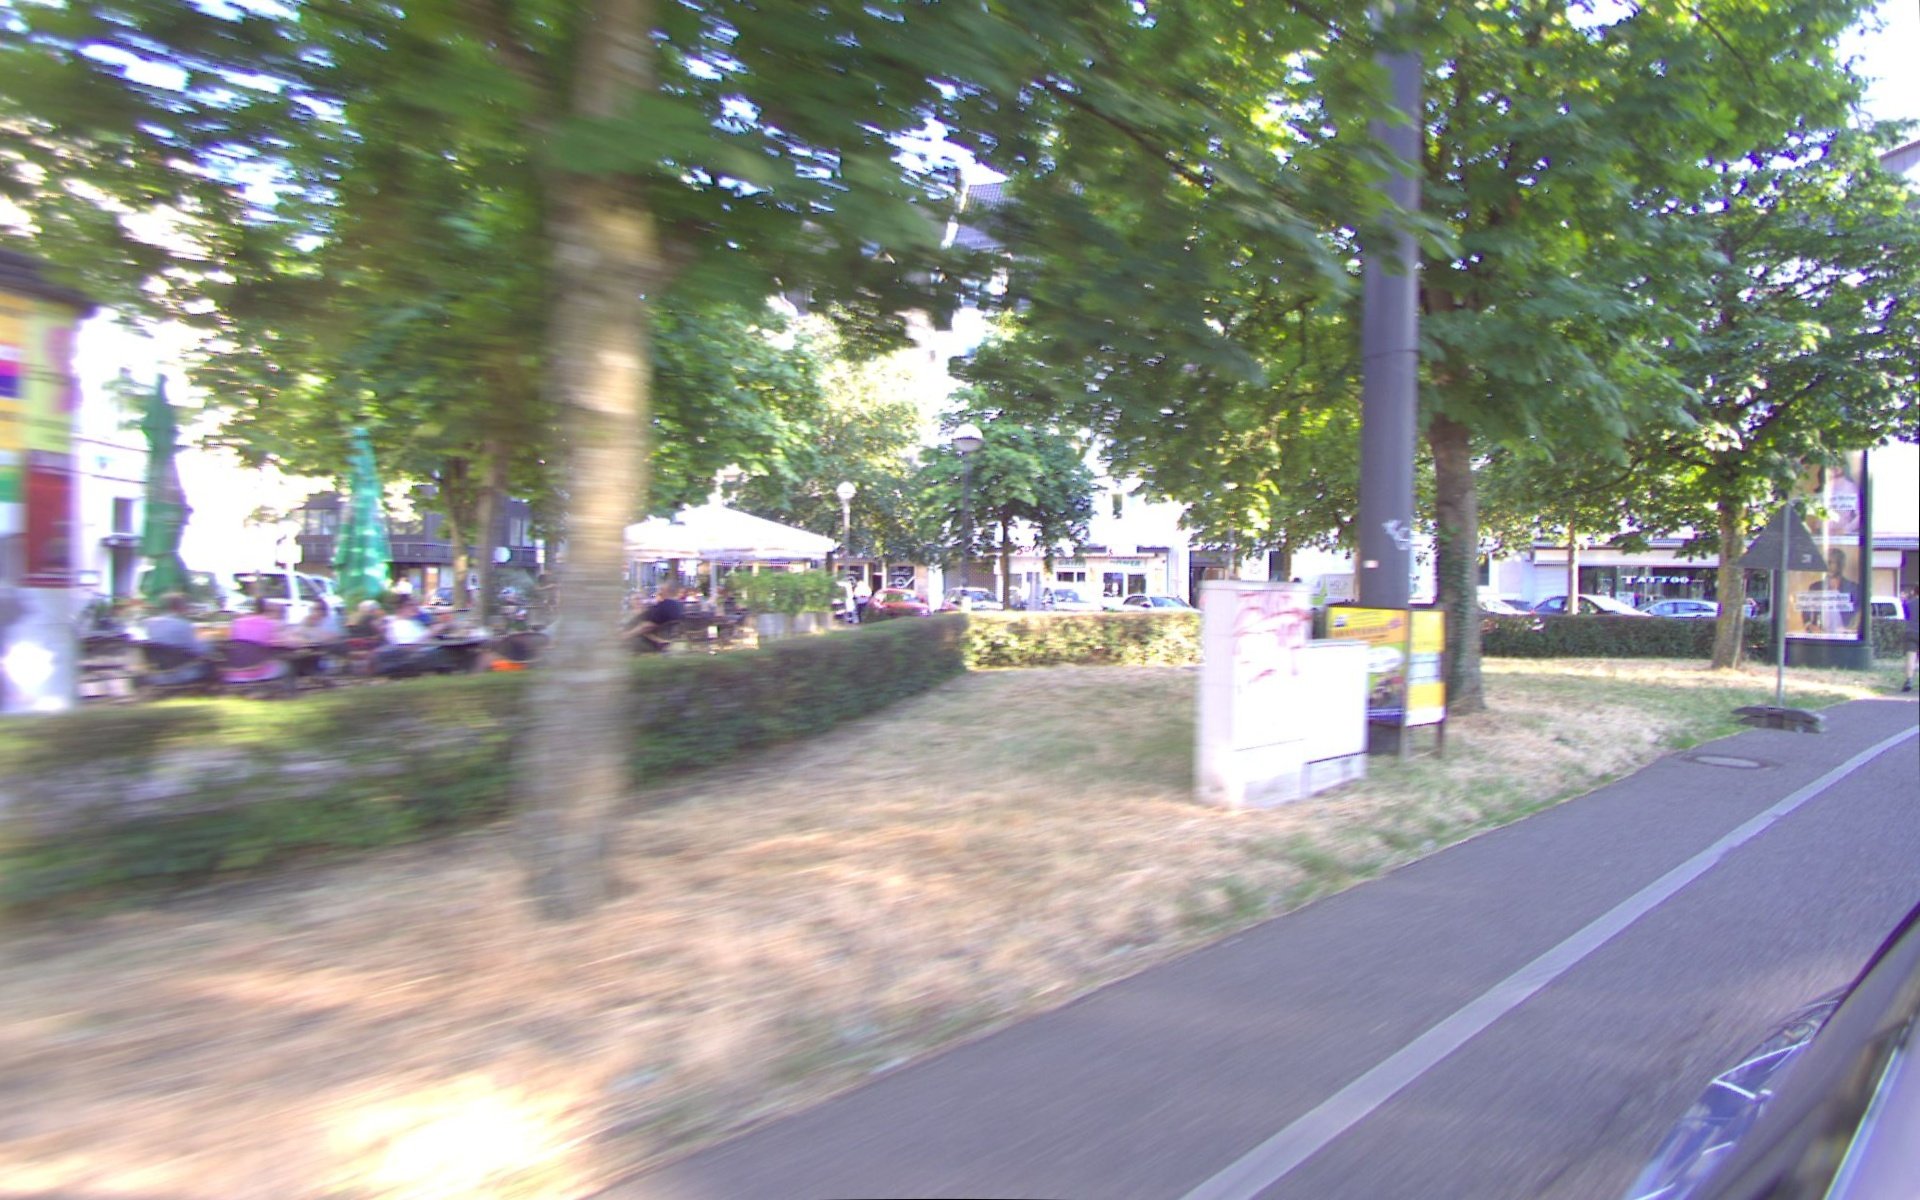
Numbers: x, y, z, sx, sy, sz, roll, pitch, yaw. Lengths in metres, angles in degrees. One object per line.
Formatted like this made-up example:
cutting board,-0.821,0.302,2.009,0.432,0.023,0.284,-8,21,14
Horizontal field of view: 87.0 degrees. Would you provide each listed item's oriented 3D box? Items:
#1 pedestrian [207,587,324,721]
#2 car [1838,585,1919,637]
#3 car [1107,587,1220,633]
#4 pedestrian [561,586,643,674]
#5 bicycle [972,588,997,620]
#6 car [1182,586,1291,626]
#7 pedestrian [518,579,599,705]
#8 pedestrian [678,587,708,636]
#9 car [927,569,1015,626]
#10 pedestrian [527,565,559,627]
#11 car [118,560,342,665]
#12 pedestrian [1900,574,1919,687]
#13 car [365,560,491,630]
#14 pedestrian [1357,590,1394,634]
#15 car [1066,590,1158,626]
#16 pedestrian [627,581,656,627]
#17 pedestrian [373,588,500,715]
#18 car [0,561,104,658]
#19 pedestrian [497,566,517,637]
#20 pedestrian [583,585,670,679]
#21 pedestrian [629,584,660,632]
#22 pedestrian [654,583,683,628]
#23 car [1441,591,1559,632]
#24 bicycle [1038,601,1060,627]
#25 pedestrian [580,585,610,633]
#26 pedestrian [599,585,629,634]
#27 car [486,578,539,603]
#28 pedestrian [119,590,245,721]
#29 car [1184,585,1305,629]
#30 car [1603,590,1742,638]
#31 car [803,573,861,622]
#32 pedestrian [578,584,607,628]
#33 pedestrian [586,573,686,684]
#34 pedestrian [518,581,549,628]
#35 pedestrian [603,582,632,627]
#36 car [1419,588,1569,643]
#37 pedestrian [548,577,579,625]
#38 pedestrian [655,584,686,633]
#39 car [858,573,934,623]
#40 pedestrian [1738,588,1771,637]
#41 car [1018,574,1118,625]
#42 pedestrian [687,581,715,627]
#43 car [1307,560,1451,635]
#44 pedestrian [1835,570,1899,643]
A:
pedestrian,-7.065,0.548,10.342,0.649,1.301,0.953,0,-4,-14
car,35.099,0.379,36.901,4.173,1.806,1.922,0,2,18
car,6.977,0.334,35.155,1.958,1.505,4.007,0,0,-23
pedestrian,-5.274,0.429,14.947,0.935,1.259,0.662,-1,-1,7
bicycle,0.796,0.133,33.106,0.321,1.008,1.463,1,1,22
car,11.101,0.222,40.599,4.108,1.505,1.925,0,0,19
pedestrian,-4.137,0.412,10.457,0.602,1.260,0.568,0,1,4
pedestrian,-6.217,0.263,23.573,0.486,1.131,0.555,0,0,14
car,0.350,-0.098,38.105,1.958,2.039,4.008,0,0,-21
pedestrian,-10.911,-0.107,26.479,0.521,1.599,0.637,0,0,14
car,-15.587,0.219,21.954,1.960,2.039,4.441,0,1,-5
pedestrian,15.239,0.478,15.775,0.630,1.765,0.590,1,0,-16
car,-16.601,-0.163,31.858,1.960,2.039,4.441,0,1,-5
pedestrian,12.087,0.351,29.467,0.949,1.241,1.362,0,0,21
car,7.005,0.323,46.552,3.949,1.514,1.941,0,3,19
pedestrian,-8.056,0.096,25.638,0.486,1.131,0.555,0,0,14
pedestrian,-5.414,0.510,10.520,0.968,1.258,0.781,0,0,-9
car,-20.718,0.190,21.286,1.982,1.988,4.518,0,0,-7
pedestrian,-10.906,0.030,24.358,0.382,1.706,0.329,0,1,-40
pedestrian,-4.591,0.455,13.971,0.935,1.259,0.661,-1,-4,7
pedestrian,-7.487,0.180,24.036,0.486,1.131,0.555,0,0,14
pedestrian,-7.302,0.131,25.371,0.486,1.131,0.555,0,0,14
car,21.912,0.447,41.235,3.946,1.510,1.816,0,2,18
bicycle,2.772,0.429,31.598,0.440,0.789,1.268,1,1,16
pedestrian,-8.810,0.206,24.420,0.452,1.131,0.555,0,0,14
pedestrian,-8.175,0.221,23.905,0.452,1.131,0.555,0,0,14
car,-25.994,-0.564,58.894,1.847,1.439,3.557,0,1,-7
pedestrian,-7.875,0.564,10.294,0.649,1.259,0.953,0,-4,-14
car,9.716,0.238,34.836,1.958,1.416,4.007,0,0,-23
car,27.605,0.515,39.377,3.948,1.659,1.989,0,3,19
car,-4.888,-0.094,39.076,1.875,1.796,4.001,0,0,-2
pedestrian,-9.401,0.148,25.890,0.486,1.131,0.555,0,0,14
pedestrian,-4.139,0.347,12.972,0.998,1.372,0.731,0,1,7
pedestrian,-10.205,0.103,24.222,0.452,1.131,0.528,0,0,14
pedestrian,-8.705,0.109,25.756,0.486,1.131,0.555,0,0,14
car,16.652,0.448,31.794,1.911,1.624,4.008,0,0,-16
pedestrian,-9.473,0.026,24.193,0.452,1.131,0.555,0,0,14
pedestrian,-6.821,0.200,23.845,0.486,1.131,0.555,0,0,14
car,-2.465,-0.074,38.076,1.872,1.796,4.008,0,0,-19
pedestrian,30.242,0.462,38.523,0.784,1.823,0.635,0,0,18
car,3.835,-0.032,36.615,1.958,1.727,4.008,0,0,-21
pedestrian,-6.459,0.107,25.248,0.486,1.131,0.555,0,0,14
car,13.600,-0.068,33.222,2.051,2.269,4.889,0,0,-10
pedestrian,21.920,0.156,24.466,0.957,1.753,0.728,0,0,-15
